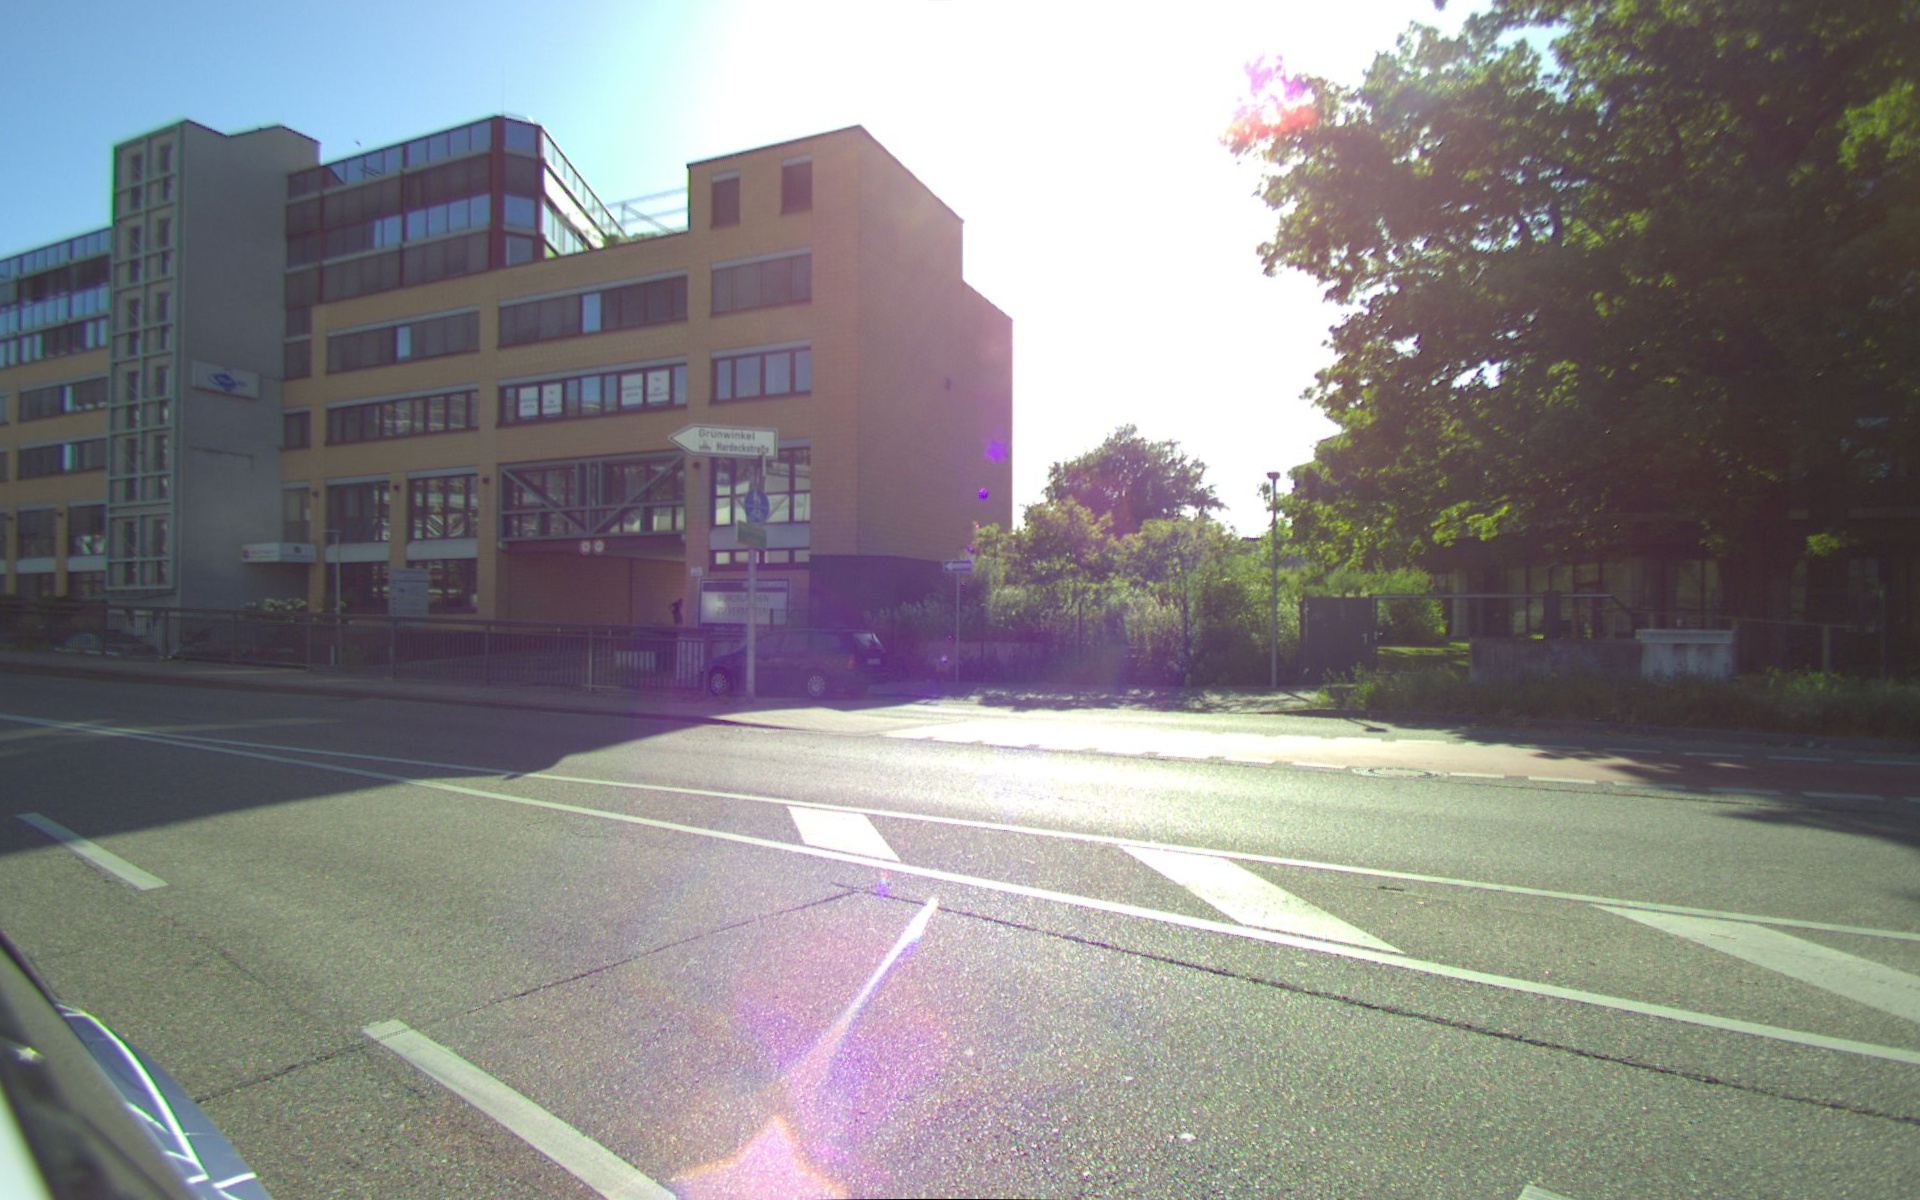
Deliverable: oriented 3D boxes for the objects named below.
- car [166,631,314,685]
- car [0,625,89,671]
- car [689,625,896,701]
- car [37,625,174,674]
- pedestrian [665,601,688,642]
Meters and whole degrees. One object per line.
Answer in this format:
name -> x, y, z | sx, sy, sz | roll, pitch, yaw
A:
car -> -21.588, 1.705, 30.344 | 4.130, 1.535, 1.627 | -1, -2, 21
car -> -33.473, 1.693, 36.386 | 3.978, 1.576, 1.869 | -1, -2, 26
car -> -3.671, 1.370, 22.005 | 4.358, 1.520, 1.644 | -2, -4, 28
car -> -28.612, 1.628, 33.894 | 4.134, 1.535, 1.866 | -1, -2, 23
pedestrian -> -13.191, 0.989, 47.092 | 0.702, 1.865, 0.740 | -1, 0, 29
